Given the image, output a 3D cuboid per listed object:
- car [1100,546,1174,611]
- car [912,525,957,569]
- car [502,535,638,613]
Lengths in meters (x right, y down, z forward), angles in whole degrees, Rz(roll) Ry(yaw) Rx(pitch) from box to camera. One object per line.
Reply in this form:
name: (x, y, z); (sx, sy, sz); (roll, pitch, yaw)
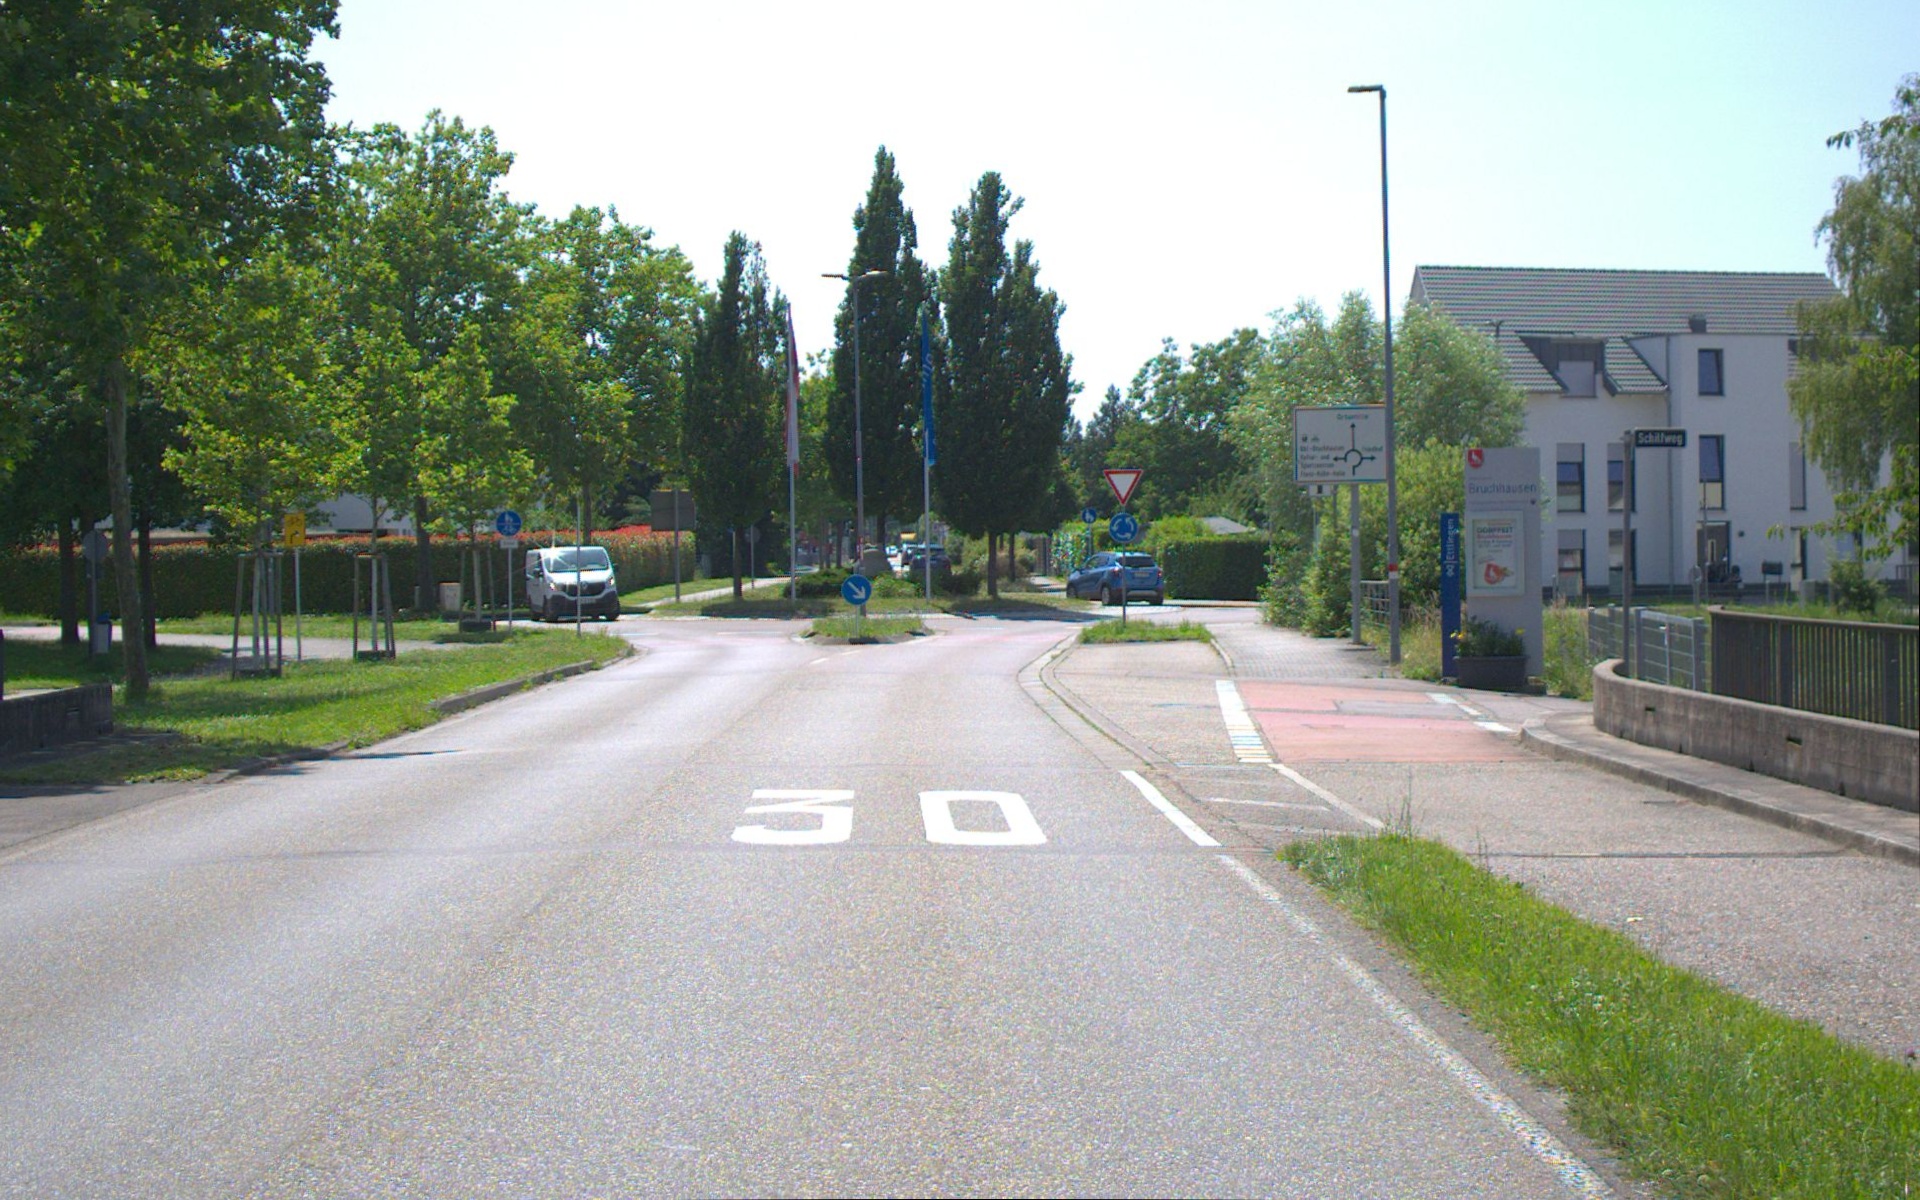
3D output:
car: (5.252, -0.641, 102.476); (1.923, 1.879, 4.000); (1, 0, -1)
car: (-1.145, -2.393, 156.791); (1.993, 1.764, 3.999); (1, -3, 0)
car: (-10.429, -0.698, 91.591); (2.127, 2.007, 5.150); (1, 0, -24)
